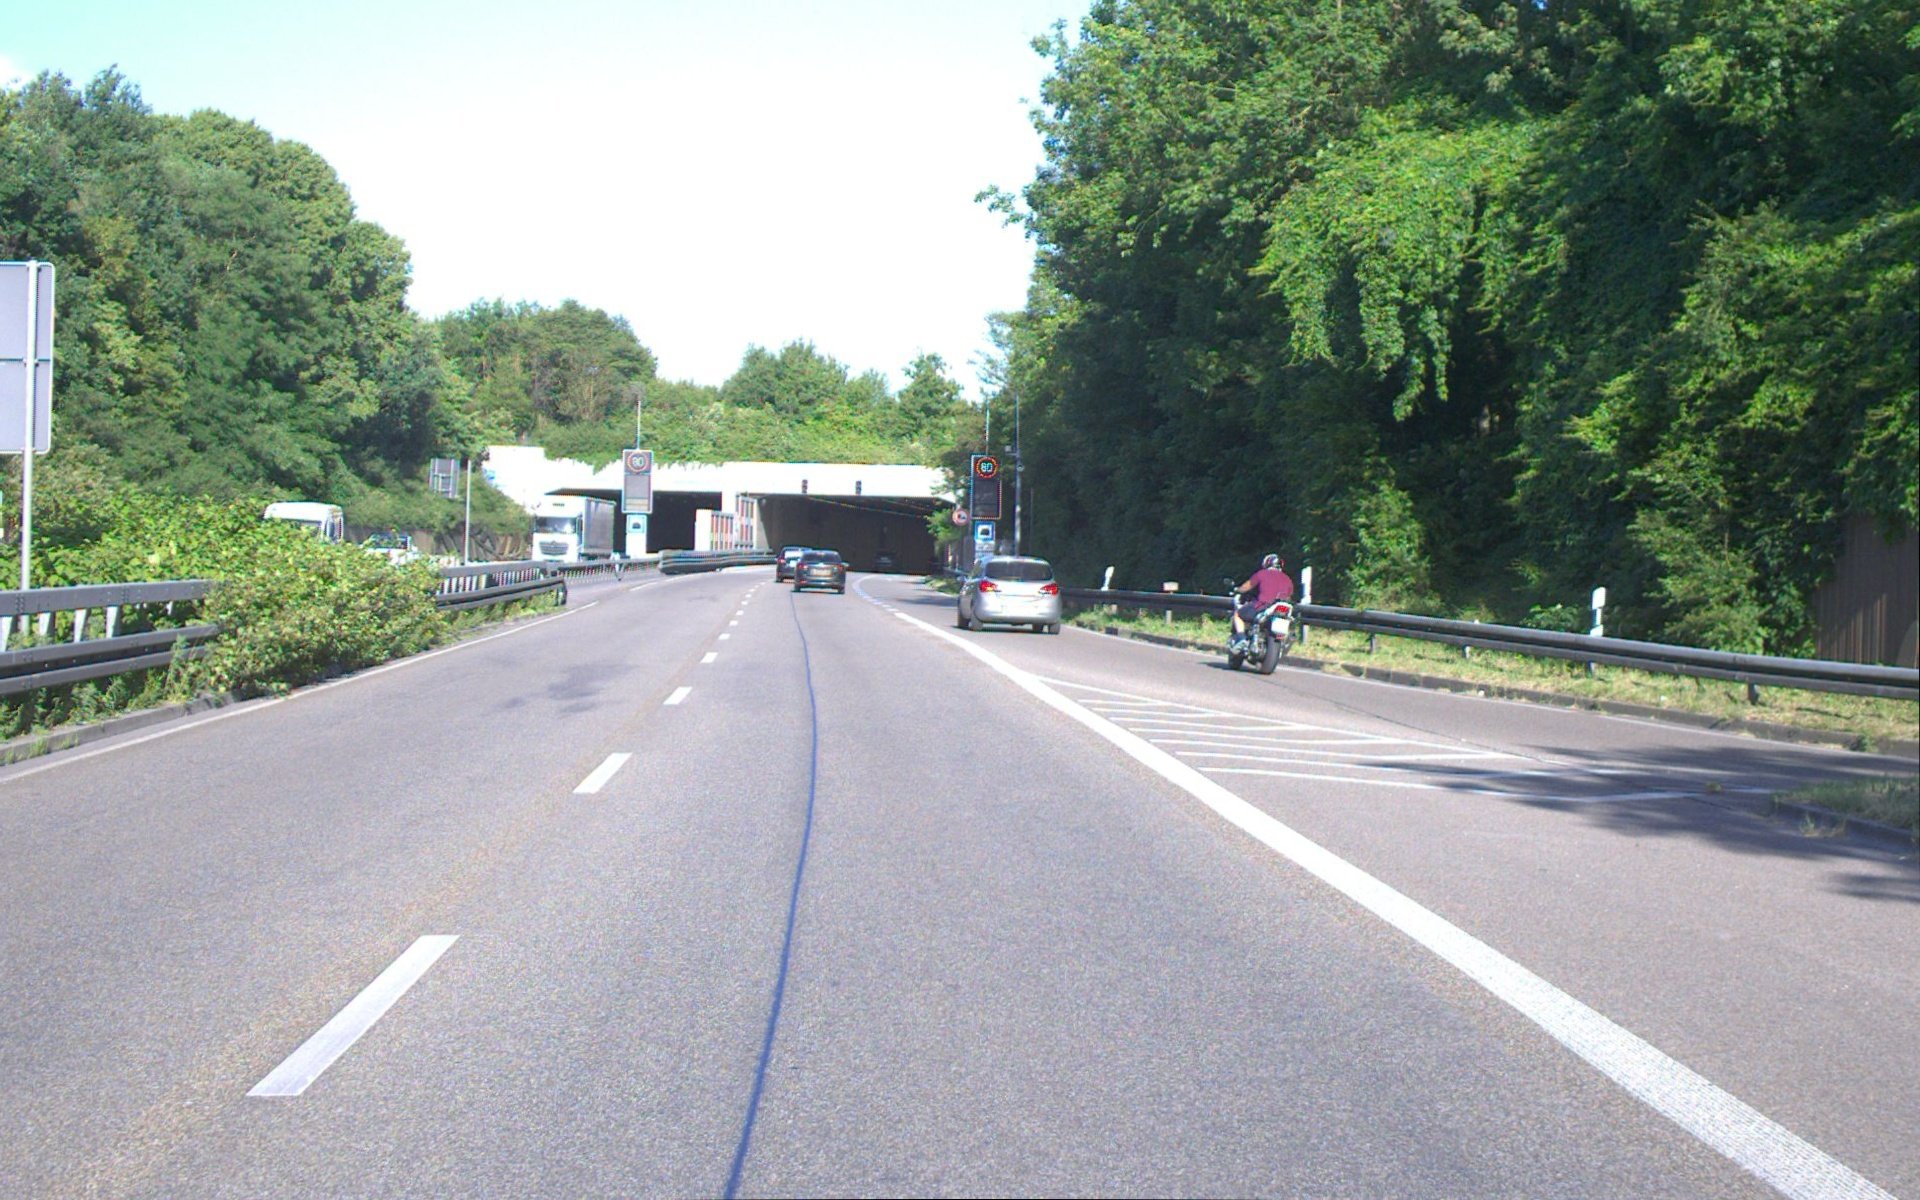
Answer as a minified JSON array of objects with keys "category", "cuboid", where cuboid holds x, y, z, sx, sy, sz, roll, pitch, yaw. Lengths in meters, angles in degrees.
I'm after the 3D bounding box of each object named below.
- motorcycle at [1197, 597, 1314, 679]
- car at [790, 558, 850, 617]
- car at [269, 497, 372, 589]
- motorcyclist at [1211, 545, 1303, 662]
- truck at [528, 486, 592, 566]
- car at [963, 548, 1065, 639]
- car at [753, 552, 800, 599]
[{"category":"motorcycle","cuboid":[3.964,0.499,46.326,0.858,0.988,2.729,3,0,-10]},{"category":"car","cuboid":[-4.885,-0.458,119.620,1.993,1.919,4.001,2,1,-3]},{"category":"car","cuboid":[-19.461,-1.773,104.847,2.147,2.602,6.053,3,2,-3]},{"category":"motorcyclist","cuboid":[3.996,0.038,46.302,0.883,1.496,1.063,3,1,-11]},{"category":"truck","cuboid":[-22.260,-4.128,191.676,2.735,4.246,6.388,3,2,-1]},{"category":"car","cuboid":[1.011,-0.148,66.074,1.667,1.546,4.001,3,2,-2]},{"category":"car","cuboid":[-8.026,-1.088,150.494,1.993,1.919,4.001,2,1,-3]}]
